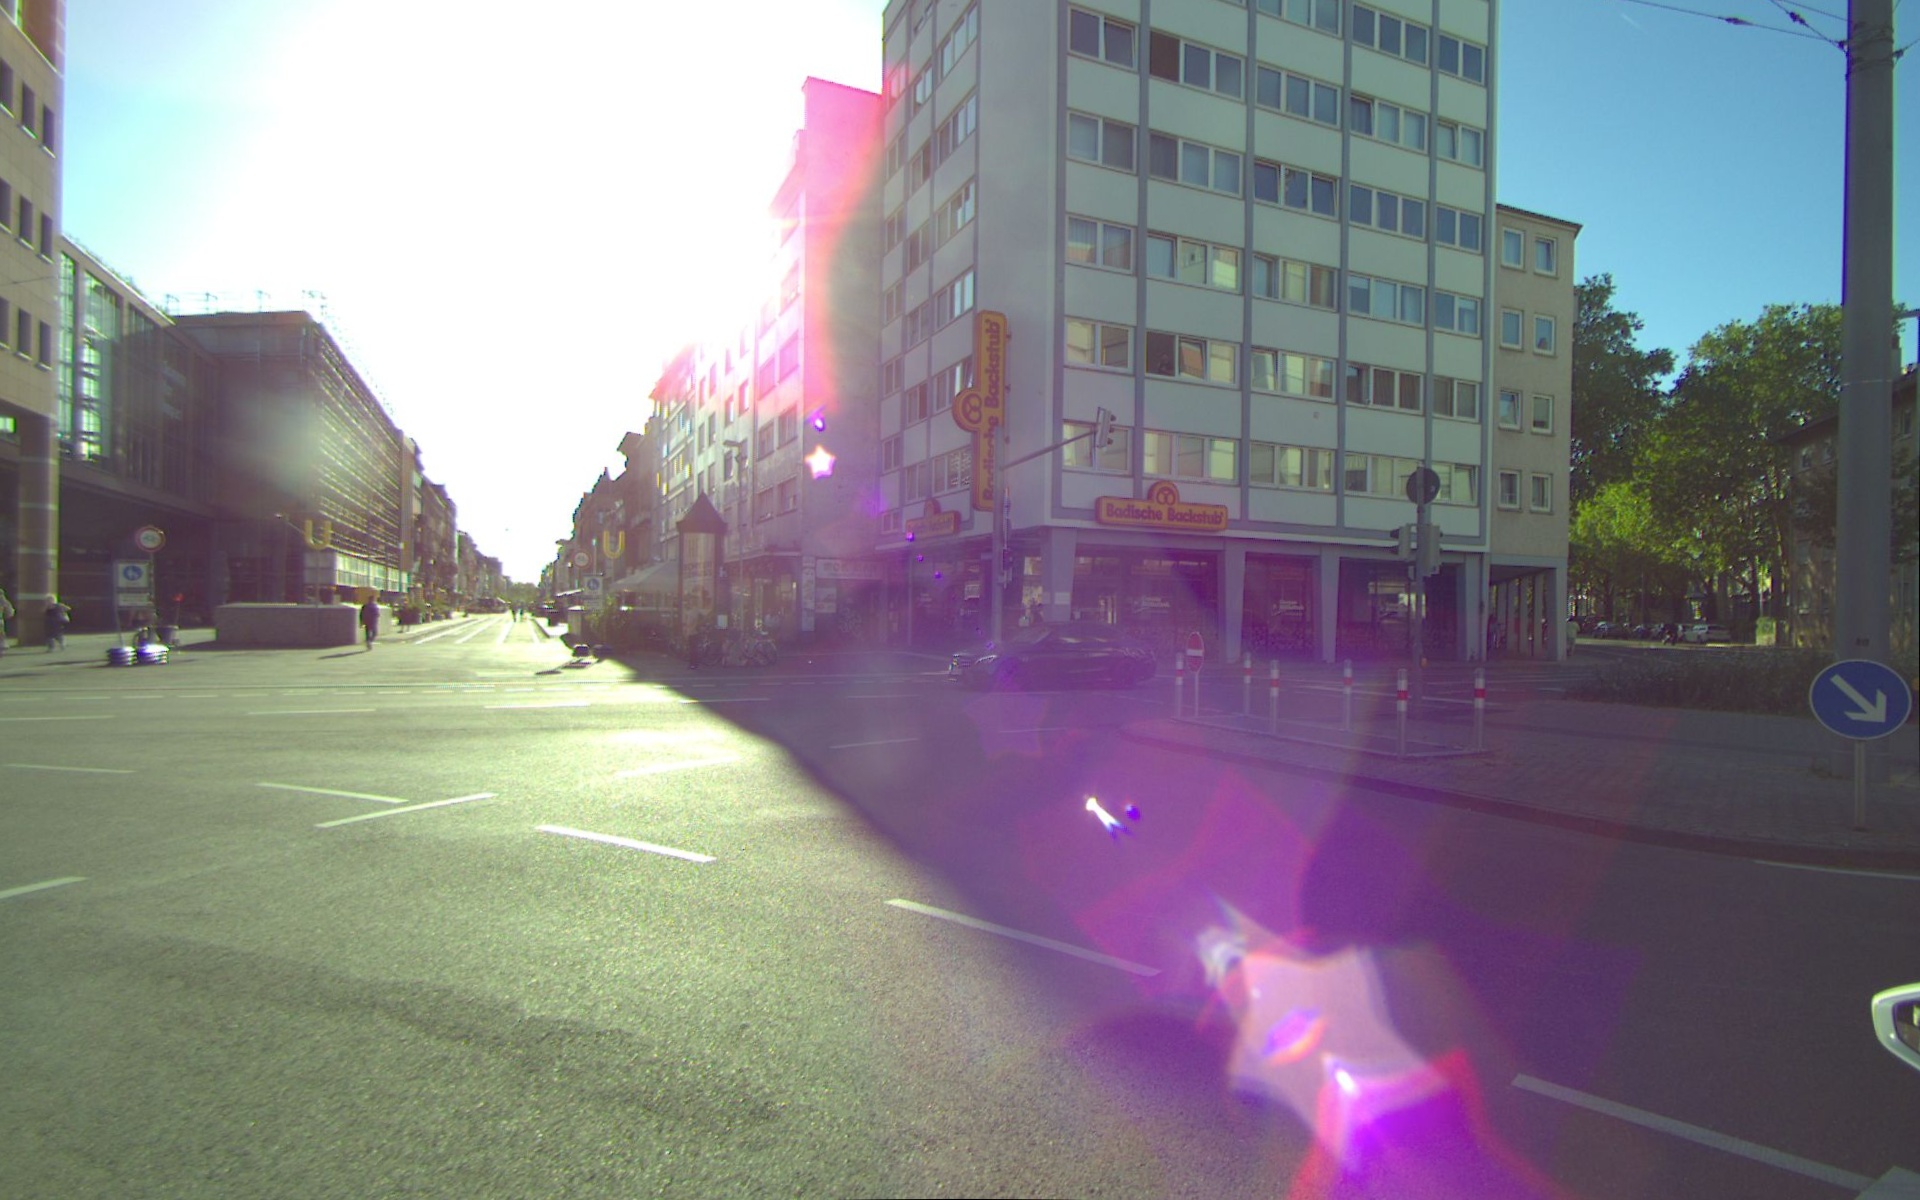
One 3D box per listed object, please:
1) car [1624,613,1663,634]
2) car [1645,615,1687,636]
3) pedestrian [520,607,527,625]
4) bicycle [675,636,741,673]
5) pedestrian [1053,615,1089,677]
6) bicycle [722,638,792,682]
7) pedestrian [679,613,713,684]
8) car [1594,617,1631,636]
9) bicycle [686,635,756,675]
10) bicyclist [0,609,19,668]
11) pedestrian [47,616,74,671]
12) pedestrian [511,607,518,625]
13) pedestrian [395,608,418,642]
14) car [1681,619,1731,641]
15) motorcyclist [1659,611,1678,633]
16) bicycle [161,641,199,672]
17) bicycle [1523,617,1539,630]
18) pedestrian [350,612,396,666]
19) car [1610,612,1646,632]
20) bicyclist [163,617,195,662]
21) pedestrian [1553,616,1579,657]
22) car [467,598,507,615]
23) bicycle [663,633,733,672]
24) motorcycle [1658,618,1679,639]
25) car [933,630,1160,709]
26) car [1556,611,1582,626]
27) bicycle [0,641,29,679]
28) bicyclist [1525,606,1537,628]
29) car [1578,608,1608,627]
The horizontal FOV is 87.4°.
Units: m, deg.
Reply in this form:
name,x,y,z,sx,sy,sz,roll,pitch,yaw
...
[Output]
name,x,y,z,sx,sy,sz,roll,pitch,yaw
car,62.587,2.170,92.018,2.000,1.782,4.092,0,1,21
car,60.681,2.158,86.426,2.000,1.638,4.092,0,1,21
pedestrian,-41.468,1.496,95.422,0.499,1.709,0.661,0,2,-28
bicycle,-7.985,1.715,31.819,1.976,1.067,0.594,-1,1,-20
pedestrian,3.245,1.317,29.332,0.765,1.747,0.803,0,1,-23
bicycle,-5.655,1.652,28.081,0.587,1.067,1.996,0,1,40
pedestrian,-6.891,1.262,26.219,0.774,1.815,0.627,0,0,-23
car,54.100,2.203,83.371,1.892,1.407,3.998,0,1,23
bicycle,-7.112,1.621,29.973,1.991,1.067,0.589,-2,1,-42
bicyclist,-24.694,0.986,25.744,0.575,1.505,0.745,-1,1,-24
pedestrian,-25.781,1.240,28.795,0.558,1.557,0.484,0,0,-41
pedestrian,-42.134,1.496,94.991,0.499,1.709,0.661,0,2,-28
pedestrian,-28.074,1.273,50.975,0.683,1.687,0.753,0,1,15
car,56.353,2.258,75.948,2.000,1.525,4.092,0,1,21
motorcyclist,46.305,1.448,65.635,0.957,1.365,1.134,2,2,34
bicycle,-23.755,1.705,30.571,1.991,0.819,0.613,1,1,44
bicycle,51.386,2.117,90.425,0.802,1.155,2.339,0,1,17
pedestrian,-18.961,1.246,32.443,0.866,1.687,0.908,0,1,11
car,64.939,2.134,97.687,2.000,1.742,4.092,0,1,21
bicyclist,-23.780,1.187,30.579,0.944,1.329,0.613,1,2,44
pedestrian,26.575,1.598,44.084,0.791,1.747,0.776,0,1,18
car,-84.448,1.151,179.279,6.227,2.946,2.548,0,2,-31
bicycle,-7.980,1.579,30.669,1.984,1.067,0.591,-1,1,-33
motorcycle,46.168,1.839,65.454,0.960,1.147,2.796,2,2,33
car,1.862,1.398,21.210,4.537,1.404,1.826,0,0,-28
car,73.210,2.251,120.821,2.000,1.765,4.093,0,0,21
bicycle,-24.673,1.535,25.725,0.575,0.924,1.954,0,0,-23
bicyclist,51.378,1.553,90.407,0.802,1.974,0.858,0,1,17
car,69.411,1.888,110.123,2.000,1.960,4.093,0,0,21
